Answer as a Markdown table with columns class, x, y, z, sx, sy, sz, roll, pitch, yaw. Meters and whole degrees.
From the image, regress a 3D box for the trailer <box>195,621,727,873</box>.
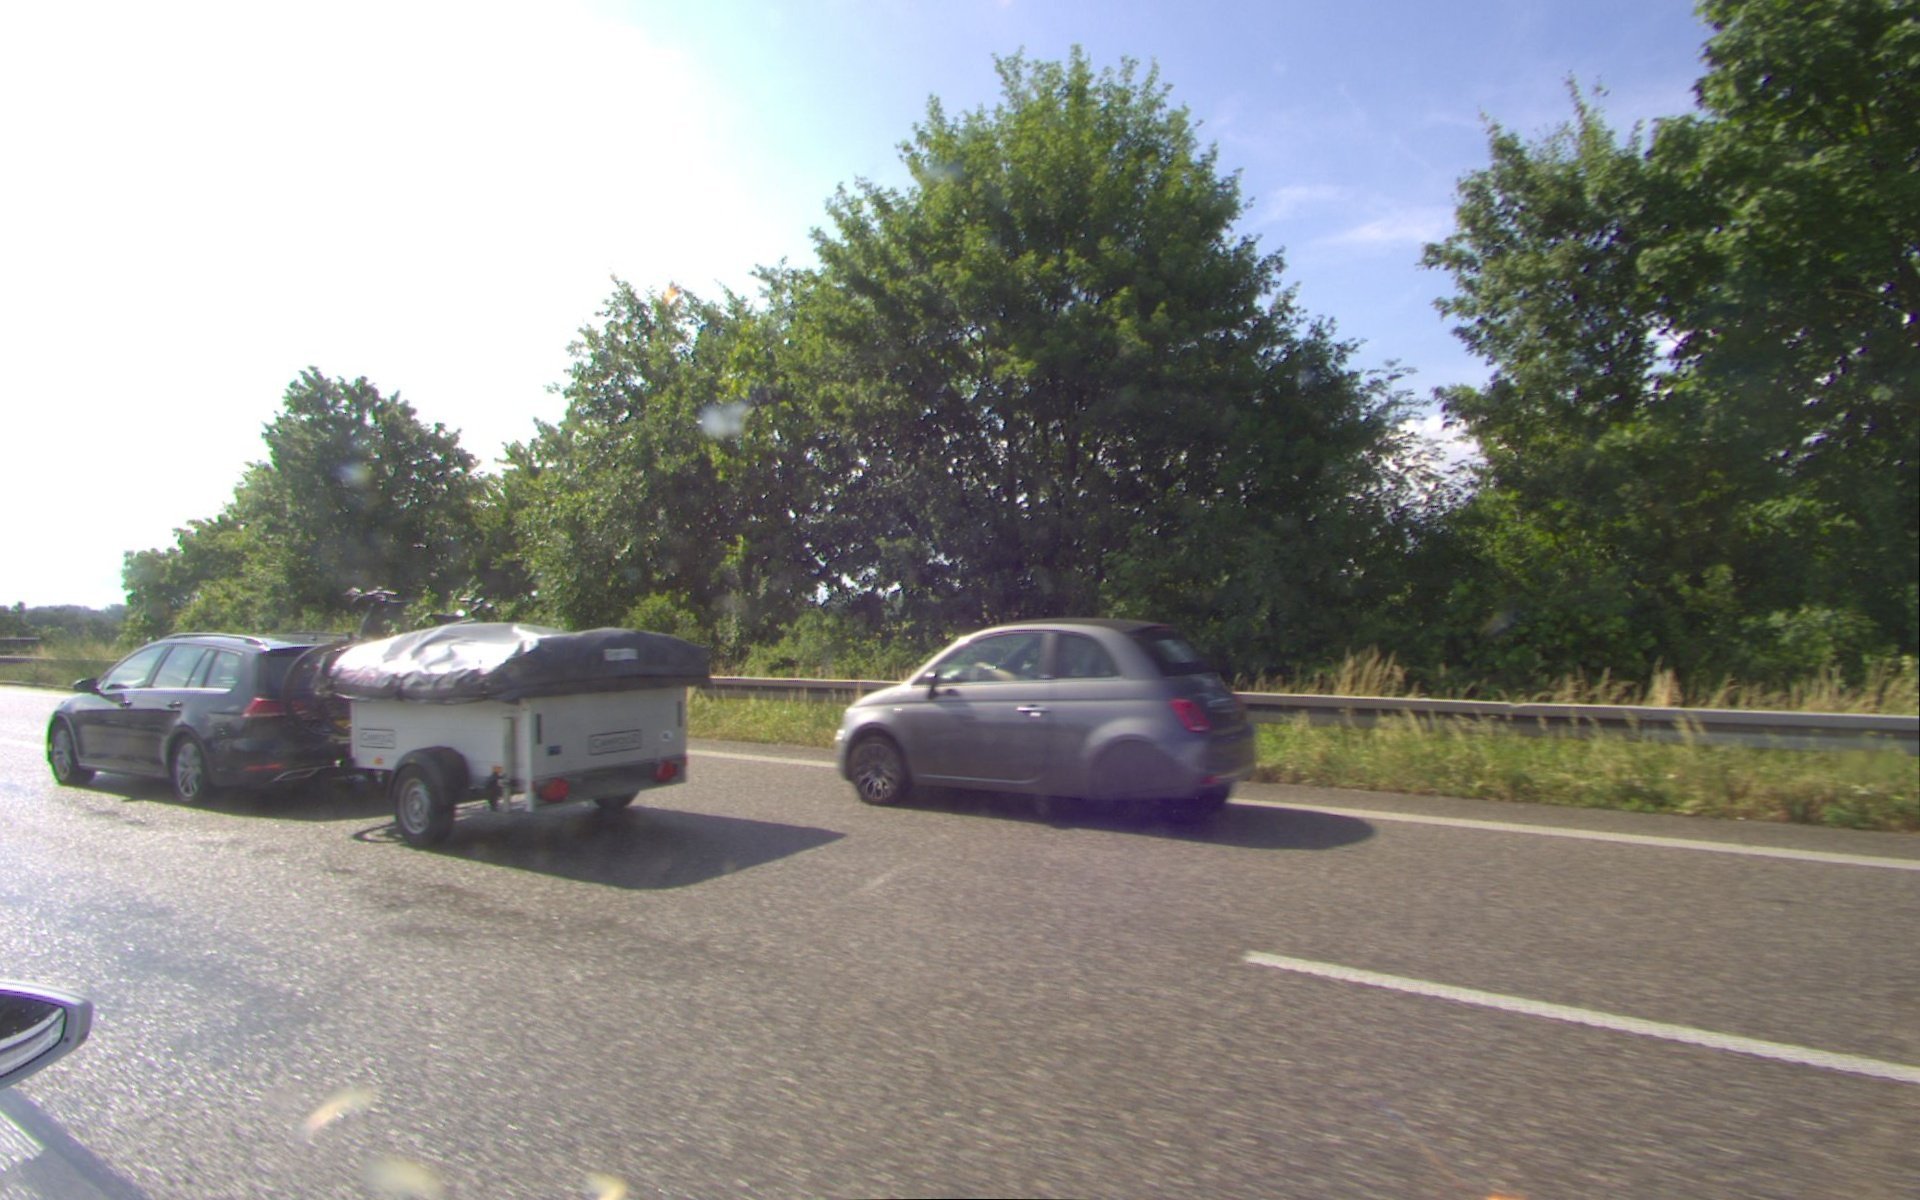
| class | x | y | z | sx | sy | sz | roll | pitch | yaw |
| --- | --- | --- | --- | --- | --- | --- | --- | --- | --- |
| trailer | -3.935 | 0.907 | 7.729 | 4.088 | 1.460 | 1.851 | -1 | -1 | 32 |

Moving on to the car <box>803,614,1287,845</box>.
| class | x | y | z | sx | sy | sz | roll | pitch | yaw |
| --- | --- | --- | --- | --- | --- | --- | --- | --- | --- |
| car | 0.634 | 0.887 | 8.216 | 3.619 | 1.502 | 1.668 | -1 | -1 | 32 |

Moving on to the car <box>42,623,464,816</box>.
| class | x | y | z | sx | sy | sz | roll | pitch | yaw |
| --- | --- | --- | --- | --- | --- | --- | --- | --- | --- |
| car | -6.820 | 0.963 | 9.556 | 4.197 | 1.460 | 1.851 | -1 | -1 | 32 |
